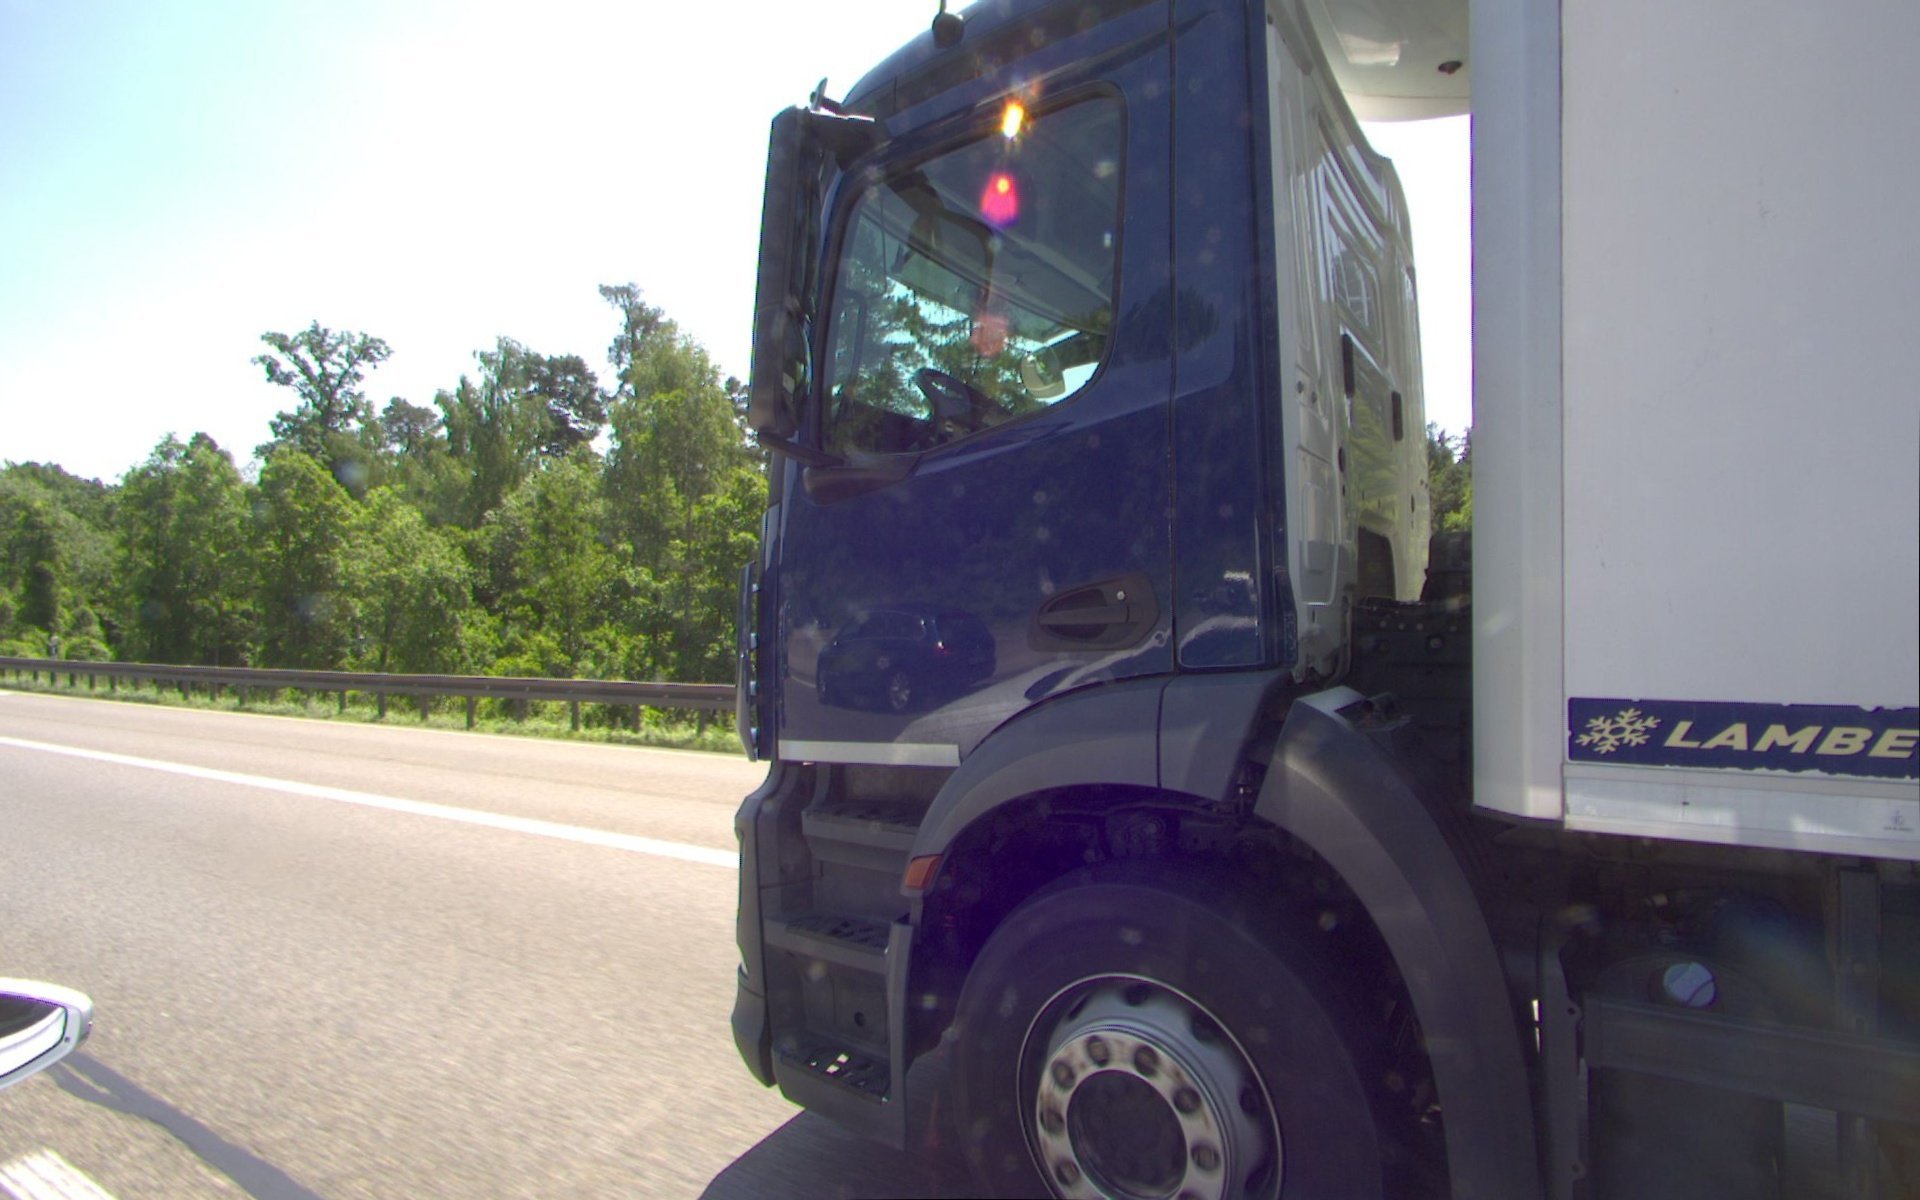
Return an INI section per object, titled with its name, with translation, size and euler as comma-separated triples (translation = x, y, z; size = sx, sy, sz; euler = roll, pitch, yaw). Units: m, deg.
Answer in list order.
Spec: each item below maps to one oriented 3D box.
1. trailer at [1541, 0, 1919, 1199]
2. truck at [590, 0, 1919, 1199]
[trailer]
translation = 4.759, -0.087, 0.412
size = 7.769, 2.936, 2.551
euler = -1, -1, 32
[truck]
translation = 1.449, 0.019, 2.519
size = 4.048, 2.978, 2.550
euler = -2, -1, 34
